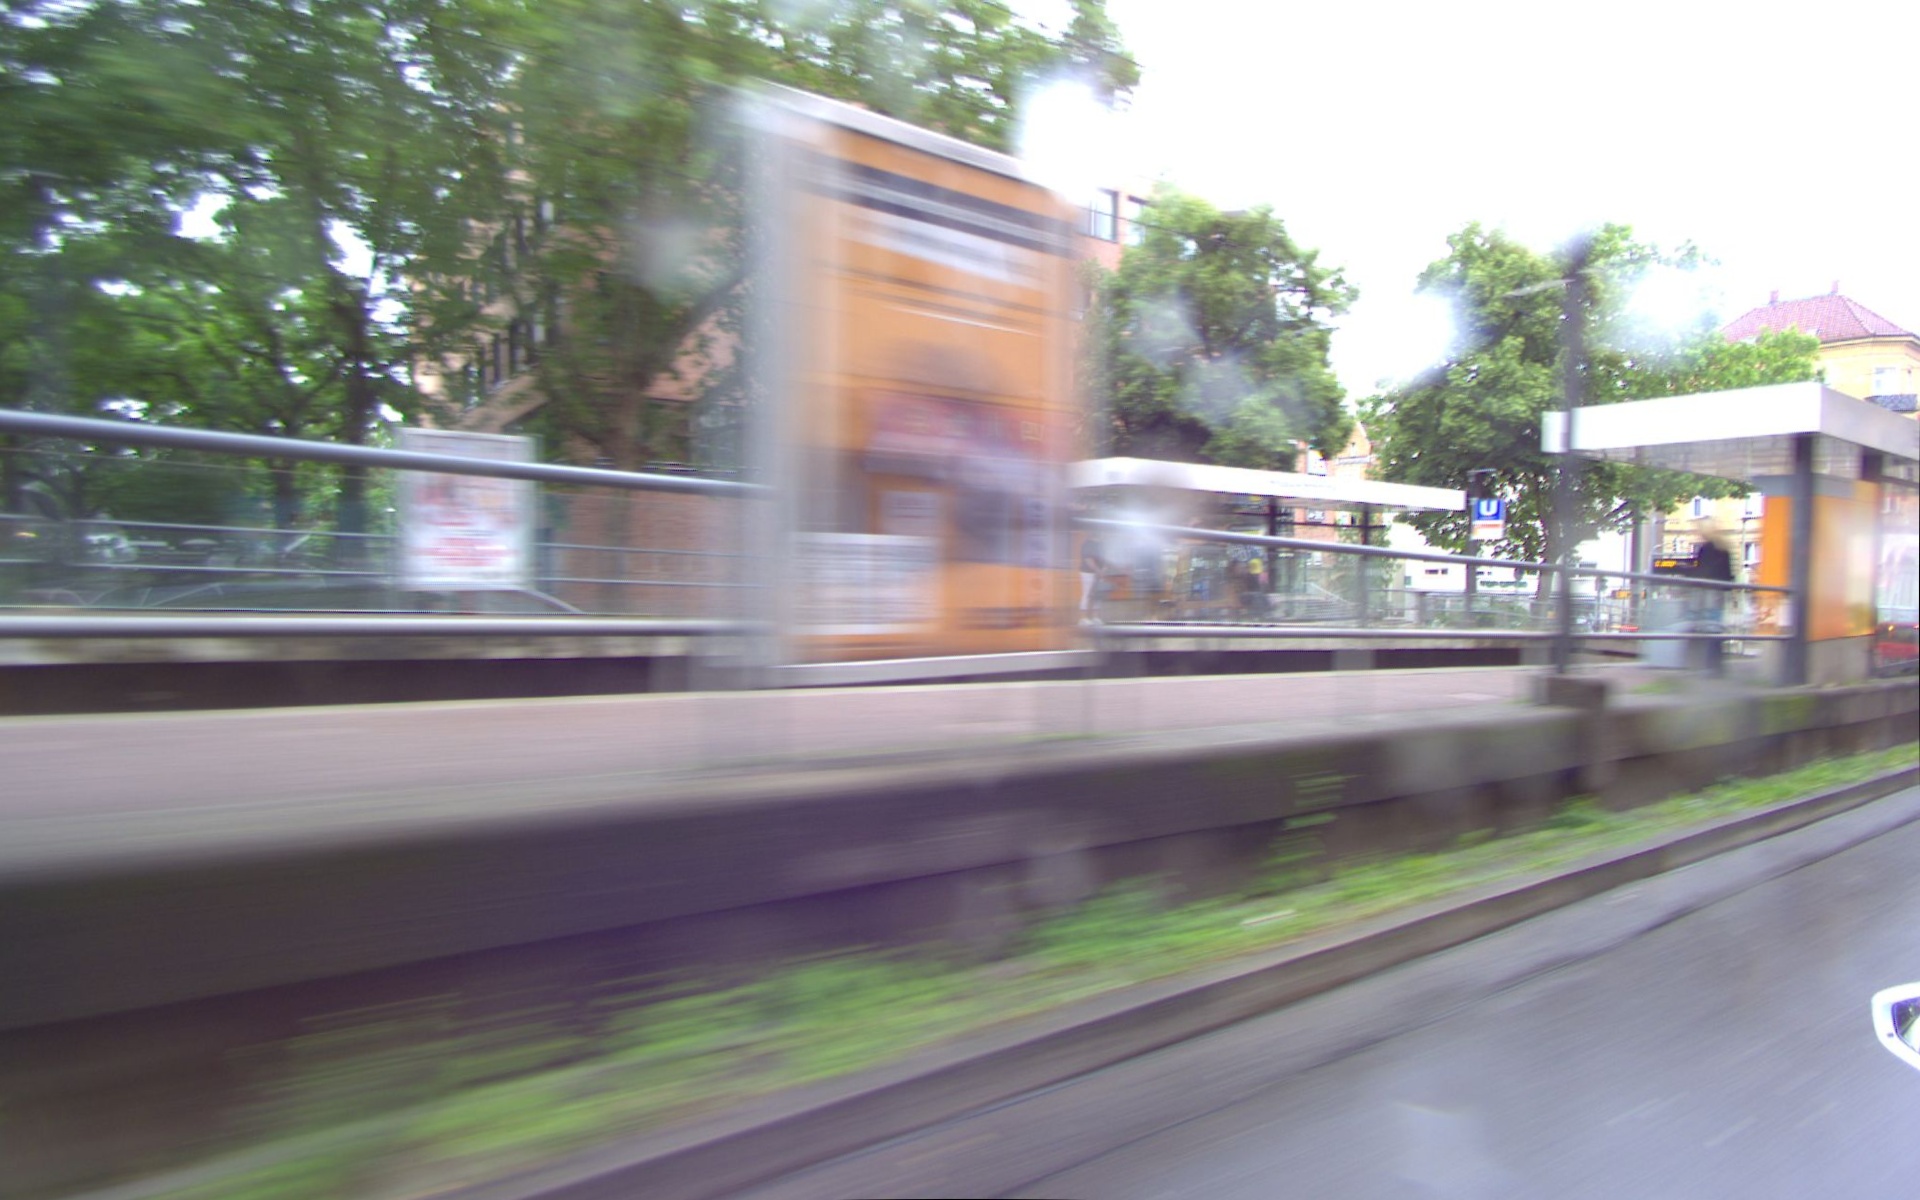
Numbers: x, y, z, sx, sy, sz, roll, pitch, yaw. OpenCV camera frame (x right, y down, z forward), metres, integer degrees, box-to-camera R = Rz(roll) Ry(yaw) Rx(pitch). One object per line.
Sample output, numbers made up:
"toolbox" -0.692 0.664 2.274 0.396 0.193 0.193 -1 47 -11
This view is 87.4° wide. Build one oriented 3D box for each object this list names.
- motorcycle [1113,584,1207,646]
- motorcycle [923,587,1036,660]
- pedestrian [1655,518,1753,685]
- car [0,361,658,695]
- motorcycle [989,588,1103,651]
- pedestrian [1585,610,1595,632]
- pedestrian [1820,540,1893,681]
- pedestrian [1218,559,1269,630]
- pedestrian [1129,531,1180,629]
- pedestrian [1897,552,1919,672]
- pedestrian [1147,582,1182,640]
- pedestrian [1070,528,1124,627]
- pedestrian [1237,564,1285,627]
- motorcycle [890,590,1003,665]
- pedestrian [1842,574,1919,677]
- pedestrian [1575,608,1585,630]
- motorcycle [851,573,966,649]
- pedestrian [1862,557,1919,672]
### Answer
"motorcycle" 6.365 0.438 32.126 0.984 1.840 3.014 1 1 -37
"motorcycle" 0.476 0.611 28.220 0.997 1.840 3.836 1 1 -37
"pedestrian" 7.499 0.017 10.136 0.627 1.626 0.495 1 1 -19
"car" -3.649 -0.297 5.566 3.430 1.409 1.680 1 1 -35
"motorcycle" 2.436 0.525 29.252 0.997 1.627 3.836 1 1 -37
"pedestrian" 48.972 1.636 78.041 0.507 1.643 0.486 2 1 15
"pedestrian" 10.600 0.120 11.881 0.522 1.610 0.502 1 1 -36
"pedestrian" 5.707 -0.114 20.214 0.559 1.381 0.771 0 2 -37
"pedestrian" 3.554 -0.365 18.366 0.699 1.738 0.558 0 2 -38
"pedestrian" 14.053 0.180 14.498 0.581 1.710 0.610 1 1 -32
"pedestrian" 7.376 0.388 36.262 0.969 2.040 0.729 1 1 -31
"pedestrian" 2.357 -0.383 17.286 0.559 1.663 0.681 0 2 -38
"pedestrian" 6.173 -0.089 20.604 0.559 1.257 0.698 0 2 -38
"motorcycle" -0.440 0.707 27.543 0.997 1.840 3.836 1 1 -37
"pedestrian" 11.481 0.302 12.493 0.501 1.243 0.610 1 1 -32
"pedestrian" 48.461 1.472 78.506 0.507 1.643 0.486 2 1 15
"motorcycle" -1.422 0.241 26.310 0.997 1.797 3.836 1 1 -37
"pedestrian" 13.433 0.206 14.385 0.501 1.602 0.610 1 1 -32
